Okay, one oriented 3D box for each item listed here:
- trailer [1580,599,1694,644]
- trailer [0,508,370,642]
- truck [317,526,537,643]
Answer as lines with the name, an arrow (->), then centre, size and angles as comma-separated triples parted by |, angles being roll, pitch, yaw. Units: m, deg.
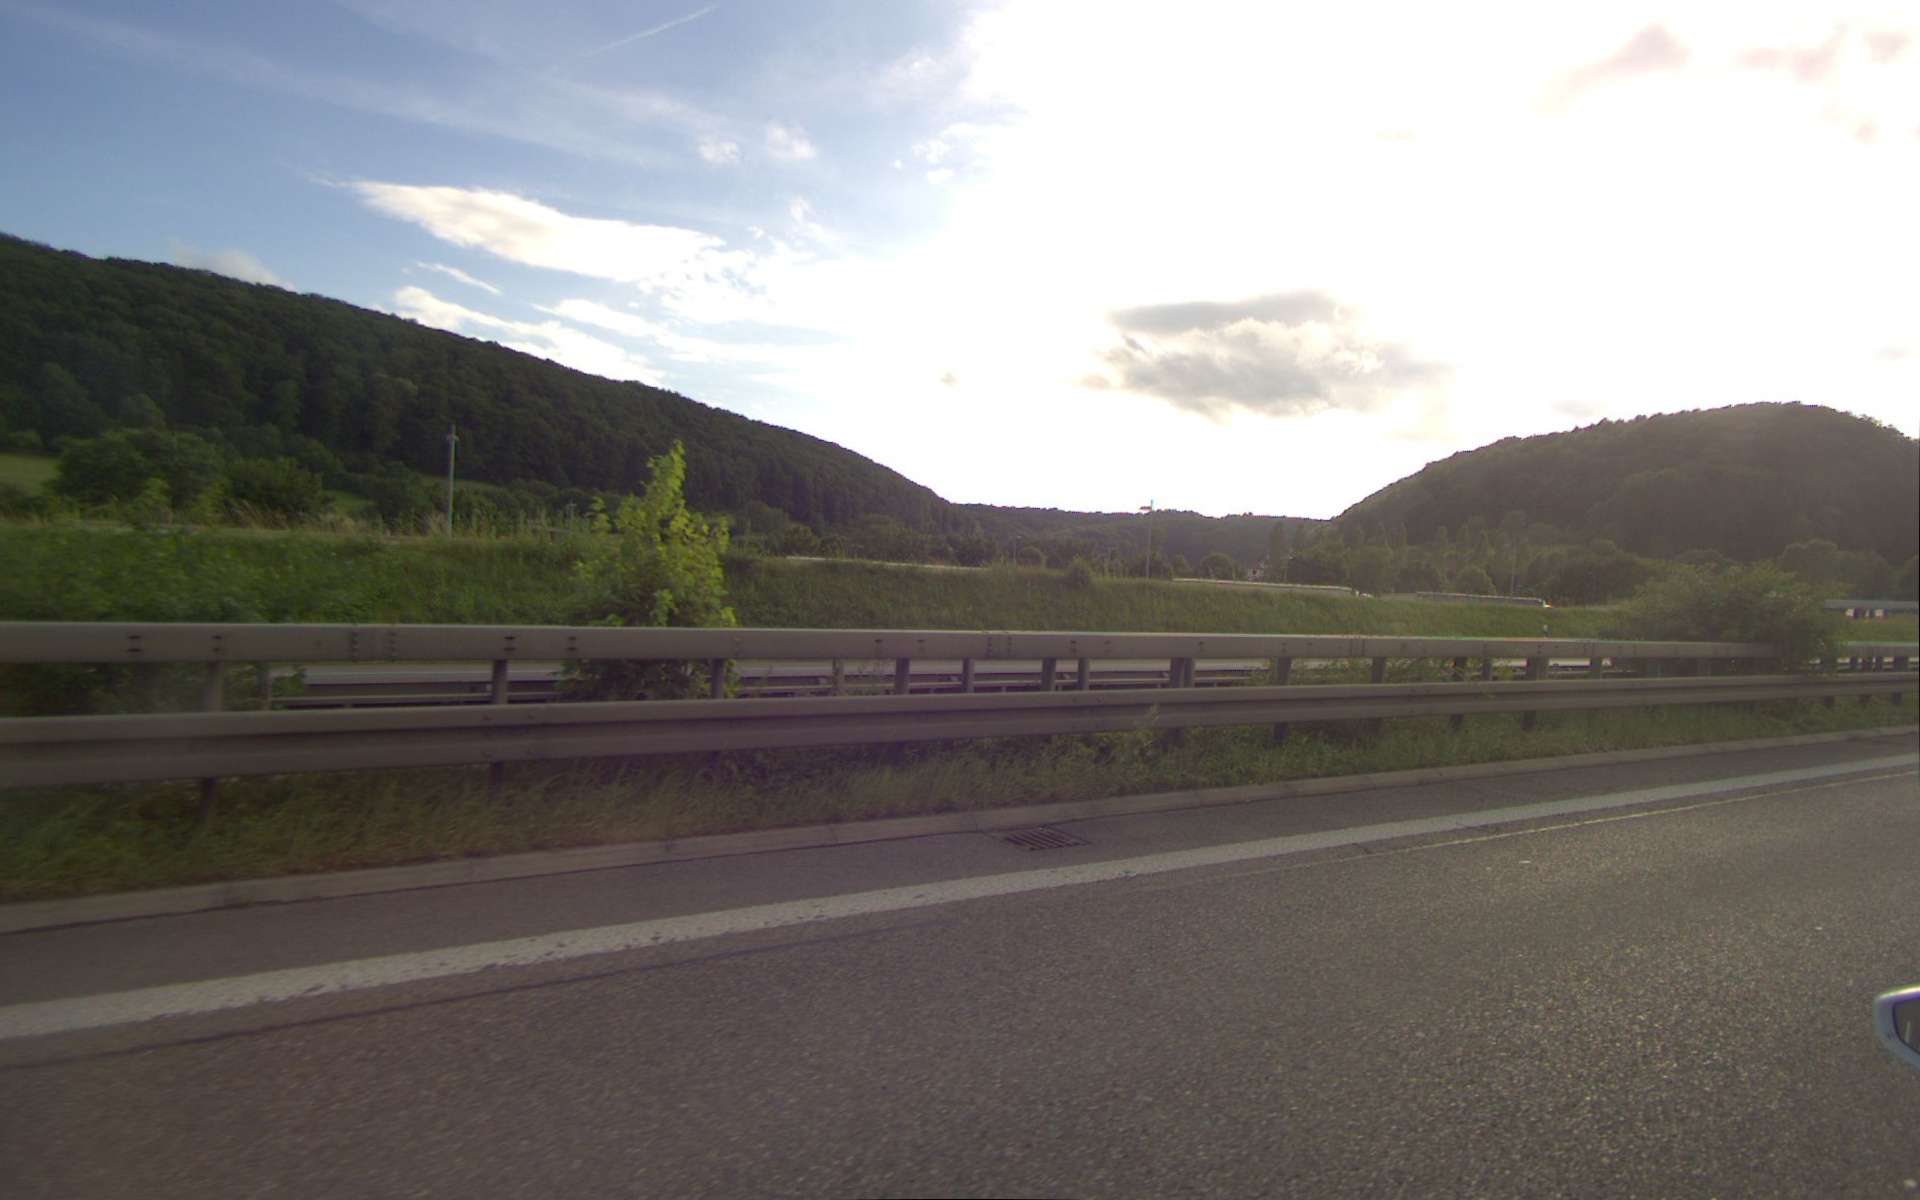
trailer -> 52.179, 1.705, 77.277 | 11.246, 2.891, 2.567 | 3, -1, -30
trailer -> -24.738, -0.629, 31.848 | 10.251, 3.745, 2.863 | 2, -1, -30
truck -> -18.654, -0.422, 35.416 | 6.515, 3.739, 2.867 | 2, -1, -31
